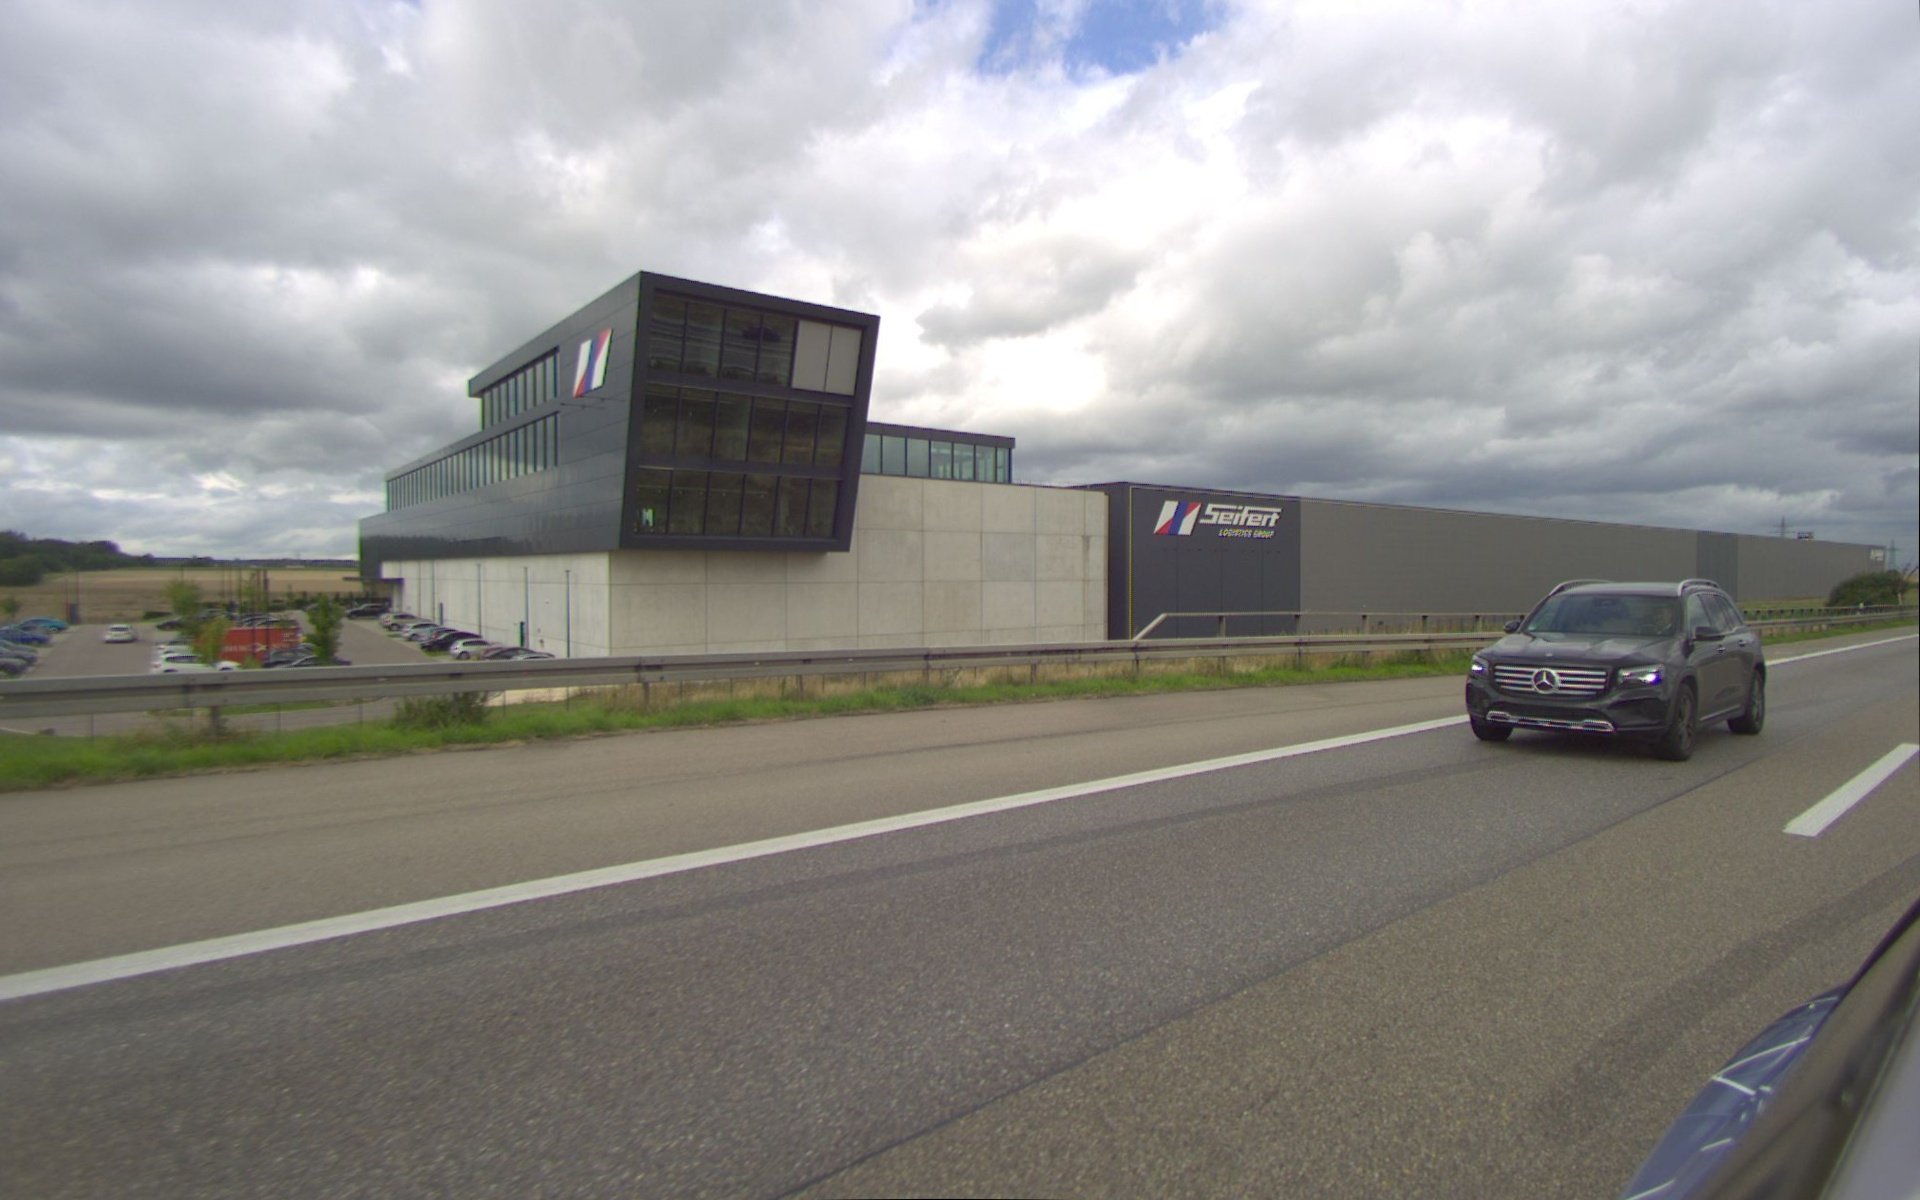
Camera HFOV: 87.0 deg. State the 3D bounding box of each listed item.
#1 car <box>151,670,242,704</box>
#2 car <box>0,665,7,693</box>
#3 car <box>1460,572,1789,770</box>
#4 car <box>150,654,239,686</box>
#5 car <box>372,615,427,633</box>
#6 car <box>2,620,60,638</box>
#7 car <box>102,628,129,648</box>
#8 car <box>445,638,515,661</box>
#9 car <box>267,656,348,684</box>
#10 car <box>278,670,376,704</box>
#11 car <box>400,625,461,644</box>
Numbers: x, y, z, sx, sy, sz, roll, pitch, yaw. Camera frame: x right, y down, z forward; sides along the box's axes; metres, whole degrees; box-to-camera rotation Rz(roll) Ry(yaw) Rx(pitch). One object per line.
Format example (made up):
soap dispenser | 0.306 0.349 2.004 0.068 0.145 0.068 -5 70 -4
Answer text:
car | -41.846 4.756 55.493 3.877 1.513 1.677 0 -1 -41
car | -56.084 4.516 56.651 3.930 1.513 1.677 0 -1 -41
car | 7.133 0.545 10.680 4.286 1.629 1.837 -2 3 -42
car | -47.844 4.332 63.305 4.391 1.723 1.677 0 -1 -41
car | -54.757 2.308 98.950 4.485 1.513 1.677 -2 0 -41
car | -85.810 2.685 93.519 1.675 1.513 3.936 -1 -1 45
car | -70.827 3.189 84.894 1.650 1.513 3.995 0 0 -39
car | -35.972 3.690 75.861 4.484 1.513 1.677 -1 -1 -41
car | -41.719 4.458 64.724 4.182 1.513 1.677 -1 -1 -41
car | -35.677 4.878 57.122 4.484 1.513 1.677 -1 -1 -41
car | -46.892 3.062 89.669 4.484 1.513 1.677 -1 -1 -41
